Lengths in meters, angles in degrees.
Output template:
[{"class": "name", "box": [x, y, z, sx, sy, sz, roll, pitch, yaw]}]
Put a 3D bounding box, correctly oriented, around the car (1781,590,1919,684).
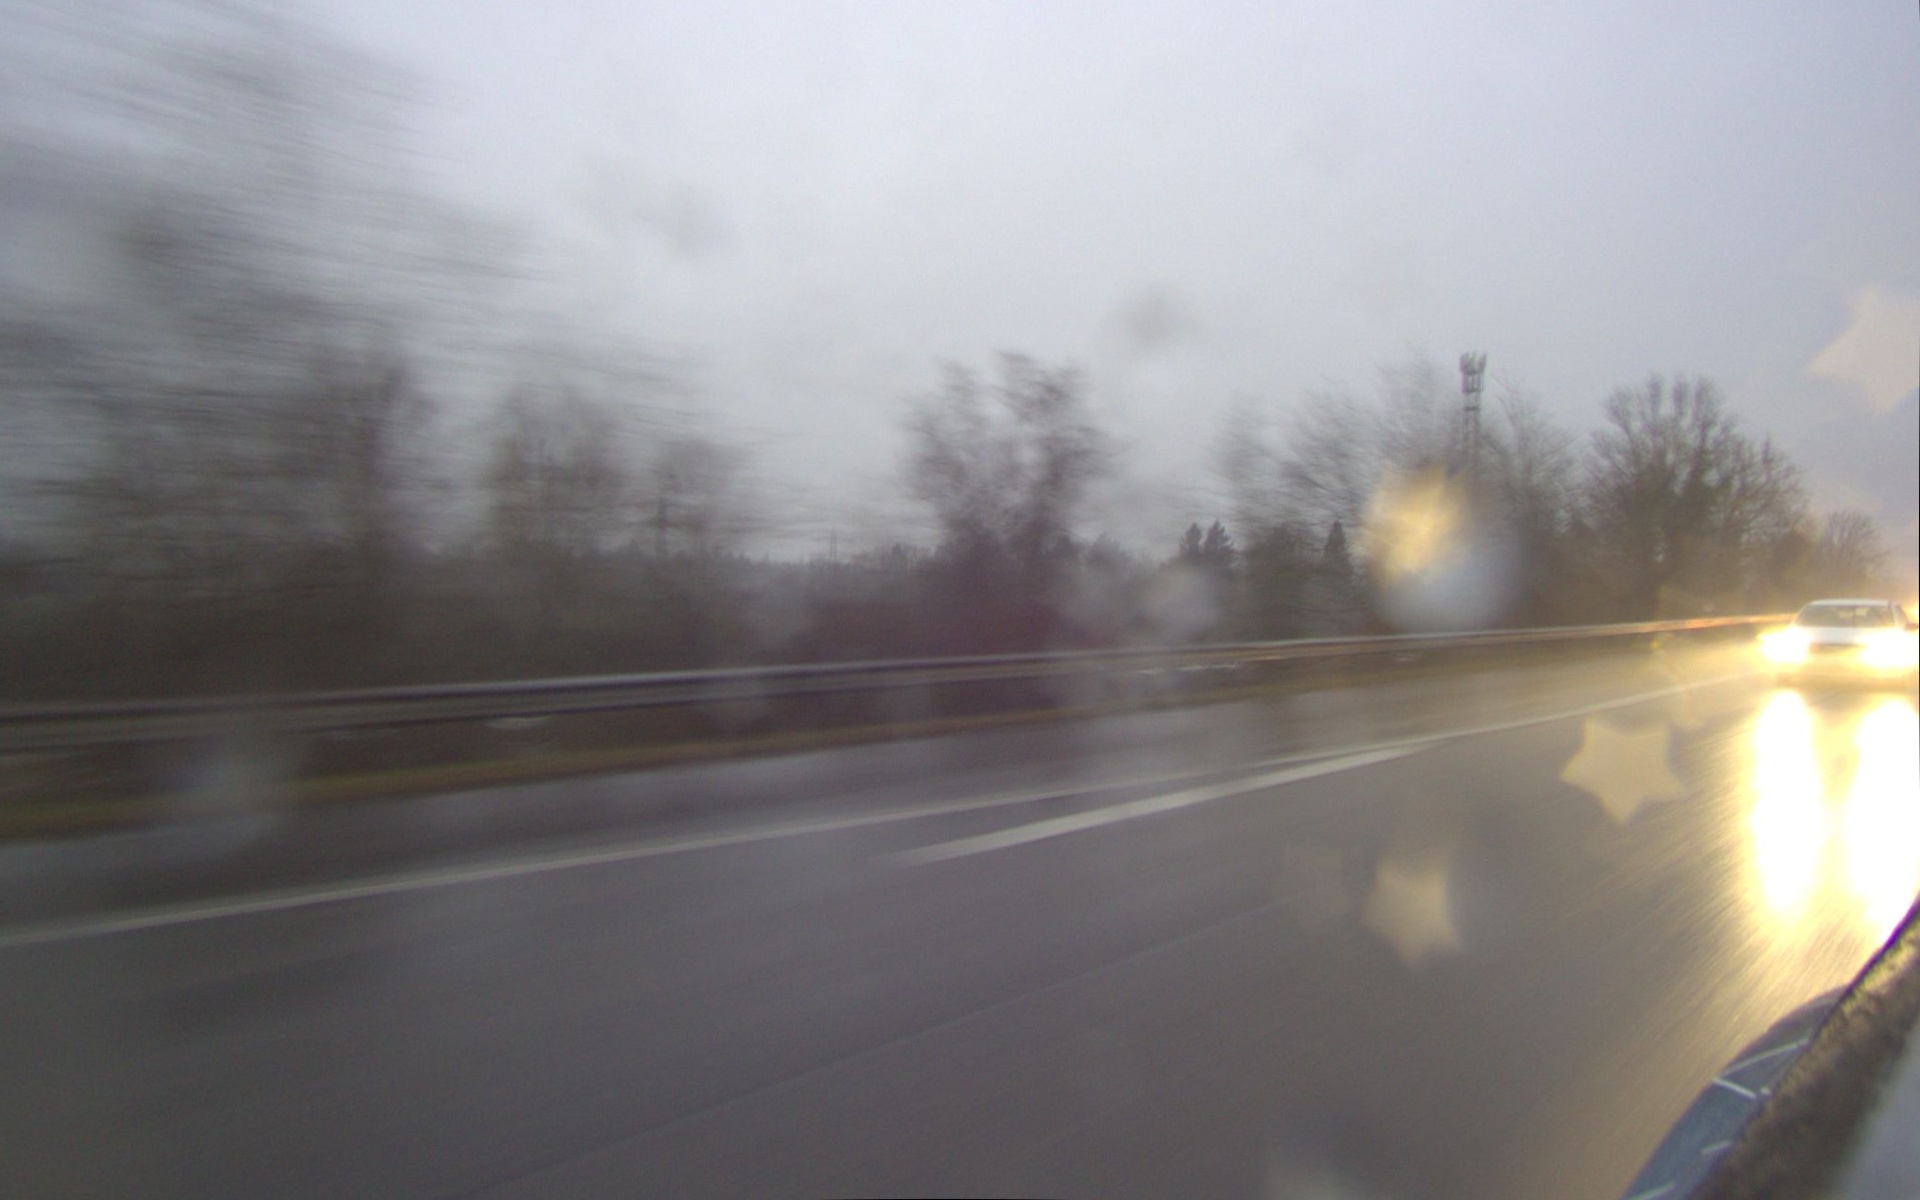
[{"class": "car", "box": [16.432, 0.605, 18.331, 3.930, 1.522, 1.800, 1, 0, -41]}]
